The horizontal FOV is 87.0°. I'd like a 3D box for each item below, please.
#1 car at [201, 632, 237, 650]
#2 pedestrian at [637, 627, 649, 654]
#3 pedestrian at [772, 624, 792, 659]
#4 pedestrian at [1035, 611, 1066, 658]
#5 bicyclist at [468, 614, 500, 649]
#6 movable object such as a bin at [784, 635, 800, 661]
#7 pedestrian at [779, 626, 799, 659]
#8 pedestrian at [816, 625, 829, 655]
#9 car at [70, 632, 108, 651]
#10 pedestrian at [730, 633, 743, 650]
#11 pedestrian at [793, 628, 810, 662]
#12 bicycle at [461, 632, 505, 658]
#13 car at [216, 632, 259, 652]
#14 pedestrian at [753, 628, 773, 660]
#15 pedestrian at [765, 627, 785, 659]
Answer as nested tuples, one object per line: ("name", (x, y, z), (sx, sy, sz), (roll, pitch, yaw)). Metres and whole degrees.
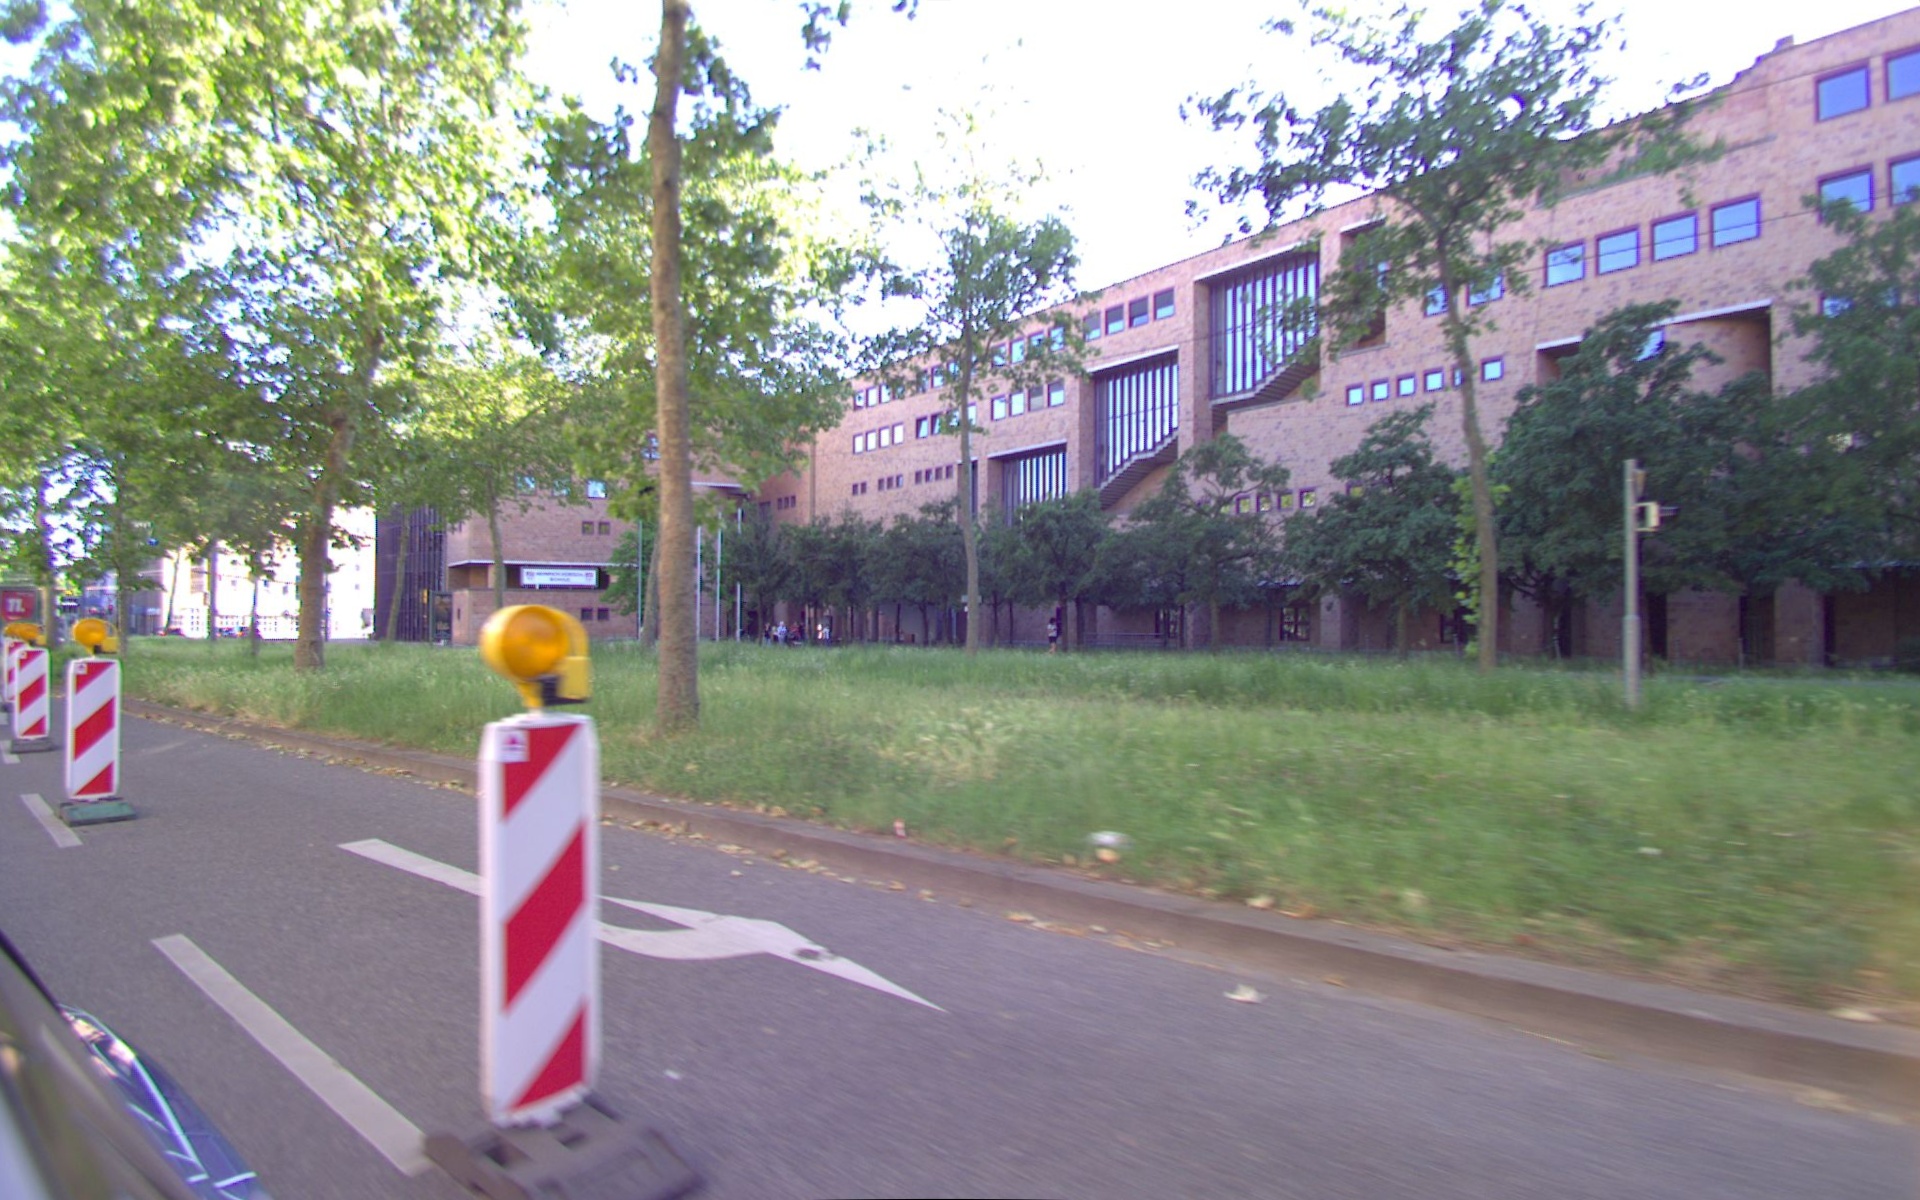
("car", (-59.878, 3.296, 81.748), (3.218, 1.440, 1.597), (-2, -3, 40))
("pedestrian", (-18.500, 2.375, 59.089), (0.653, 1.555, 0.412), (-2, -3, 44))
("pedestrian", (-8.803, 2.057, 50.034), (0.796, 1.735, 0.657), (-2, -2, 40))
("pedestrian", (3.591, 1.376, 40.162), (0.901, 1.845, 0.815), (-2, -2, 42))
("bicyclist", (-22.045, 1.456, 46.852), (1.209, 1.583, 0.931), (-2, -3, 41))
("movable object such as a bin", (-8.231, 2.348, 49.488), (0.756, 1.289, 0.352), (-2, -2, 40))
("pedestrian", (-8.570, 2.139, 50.764), (0.756, 1.629, 0.657), (-2, -2, 40))
("pedestrian", (-6.955, 2.030, 51.211), (0.463, 1.517, 0.478), (-2, -2, 39))
("car", (-68.948, 3.303, 80.066), (4.146, 1.440, 1.597), (-1, -2, 40))
("pedestrian", (-15.812, 2.936, 71.576), (0.628, 1.207, 0.659), (-1, -2, 31))
("pedestrian", (-7.993, 2.277, 50.981), (0.595, 1.692, 0.604), (-2, -2, 40))
("bicycle", (-22.111, 2.086, 46.893), (2.435, 1.134, 0.946), (-1, -2, 41))
("car", (-55.282, 3.195, 77.458), (4.146, 1.440, 1.654), (-2, -3, 40))
("pedestrian", (-9.975, 2.230, 51.256), (0.756, 1.629, 0.657), (-2, -2, 40))
("pedestrian", (-9.463, 2.190, 51.753), (0.756, 1.629, 0.657), (-2, -2, 42))
